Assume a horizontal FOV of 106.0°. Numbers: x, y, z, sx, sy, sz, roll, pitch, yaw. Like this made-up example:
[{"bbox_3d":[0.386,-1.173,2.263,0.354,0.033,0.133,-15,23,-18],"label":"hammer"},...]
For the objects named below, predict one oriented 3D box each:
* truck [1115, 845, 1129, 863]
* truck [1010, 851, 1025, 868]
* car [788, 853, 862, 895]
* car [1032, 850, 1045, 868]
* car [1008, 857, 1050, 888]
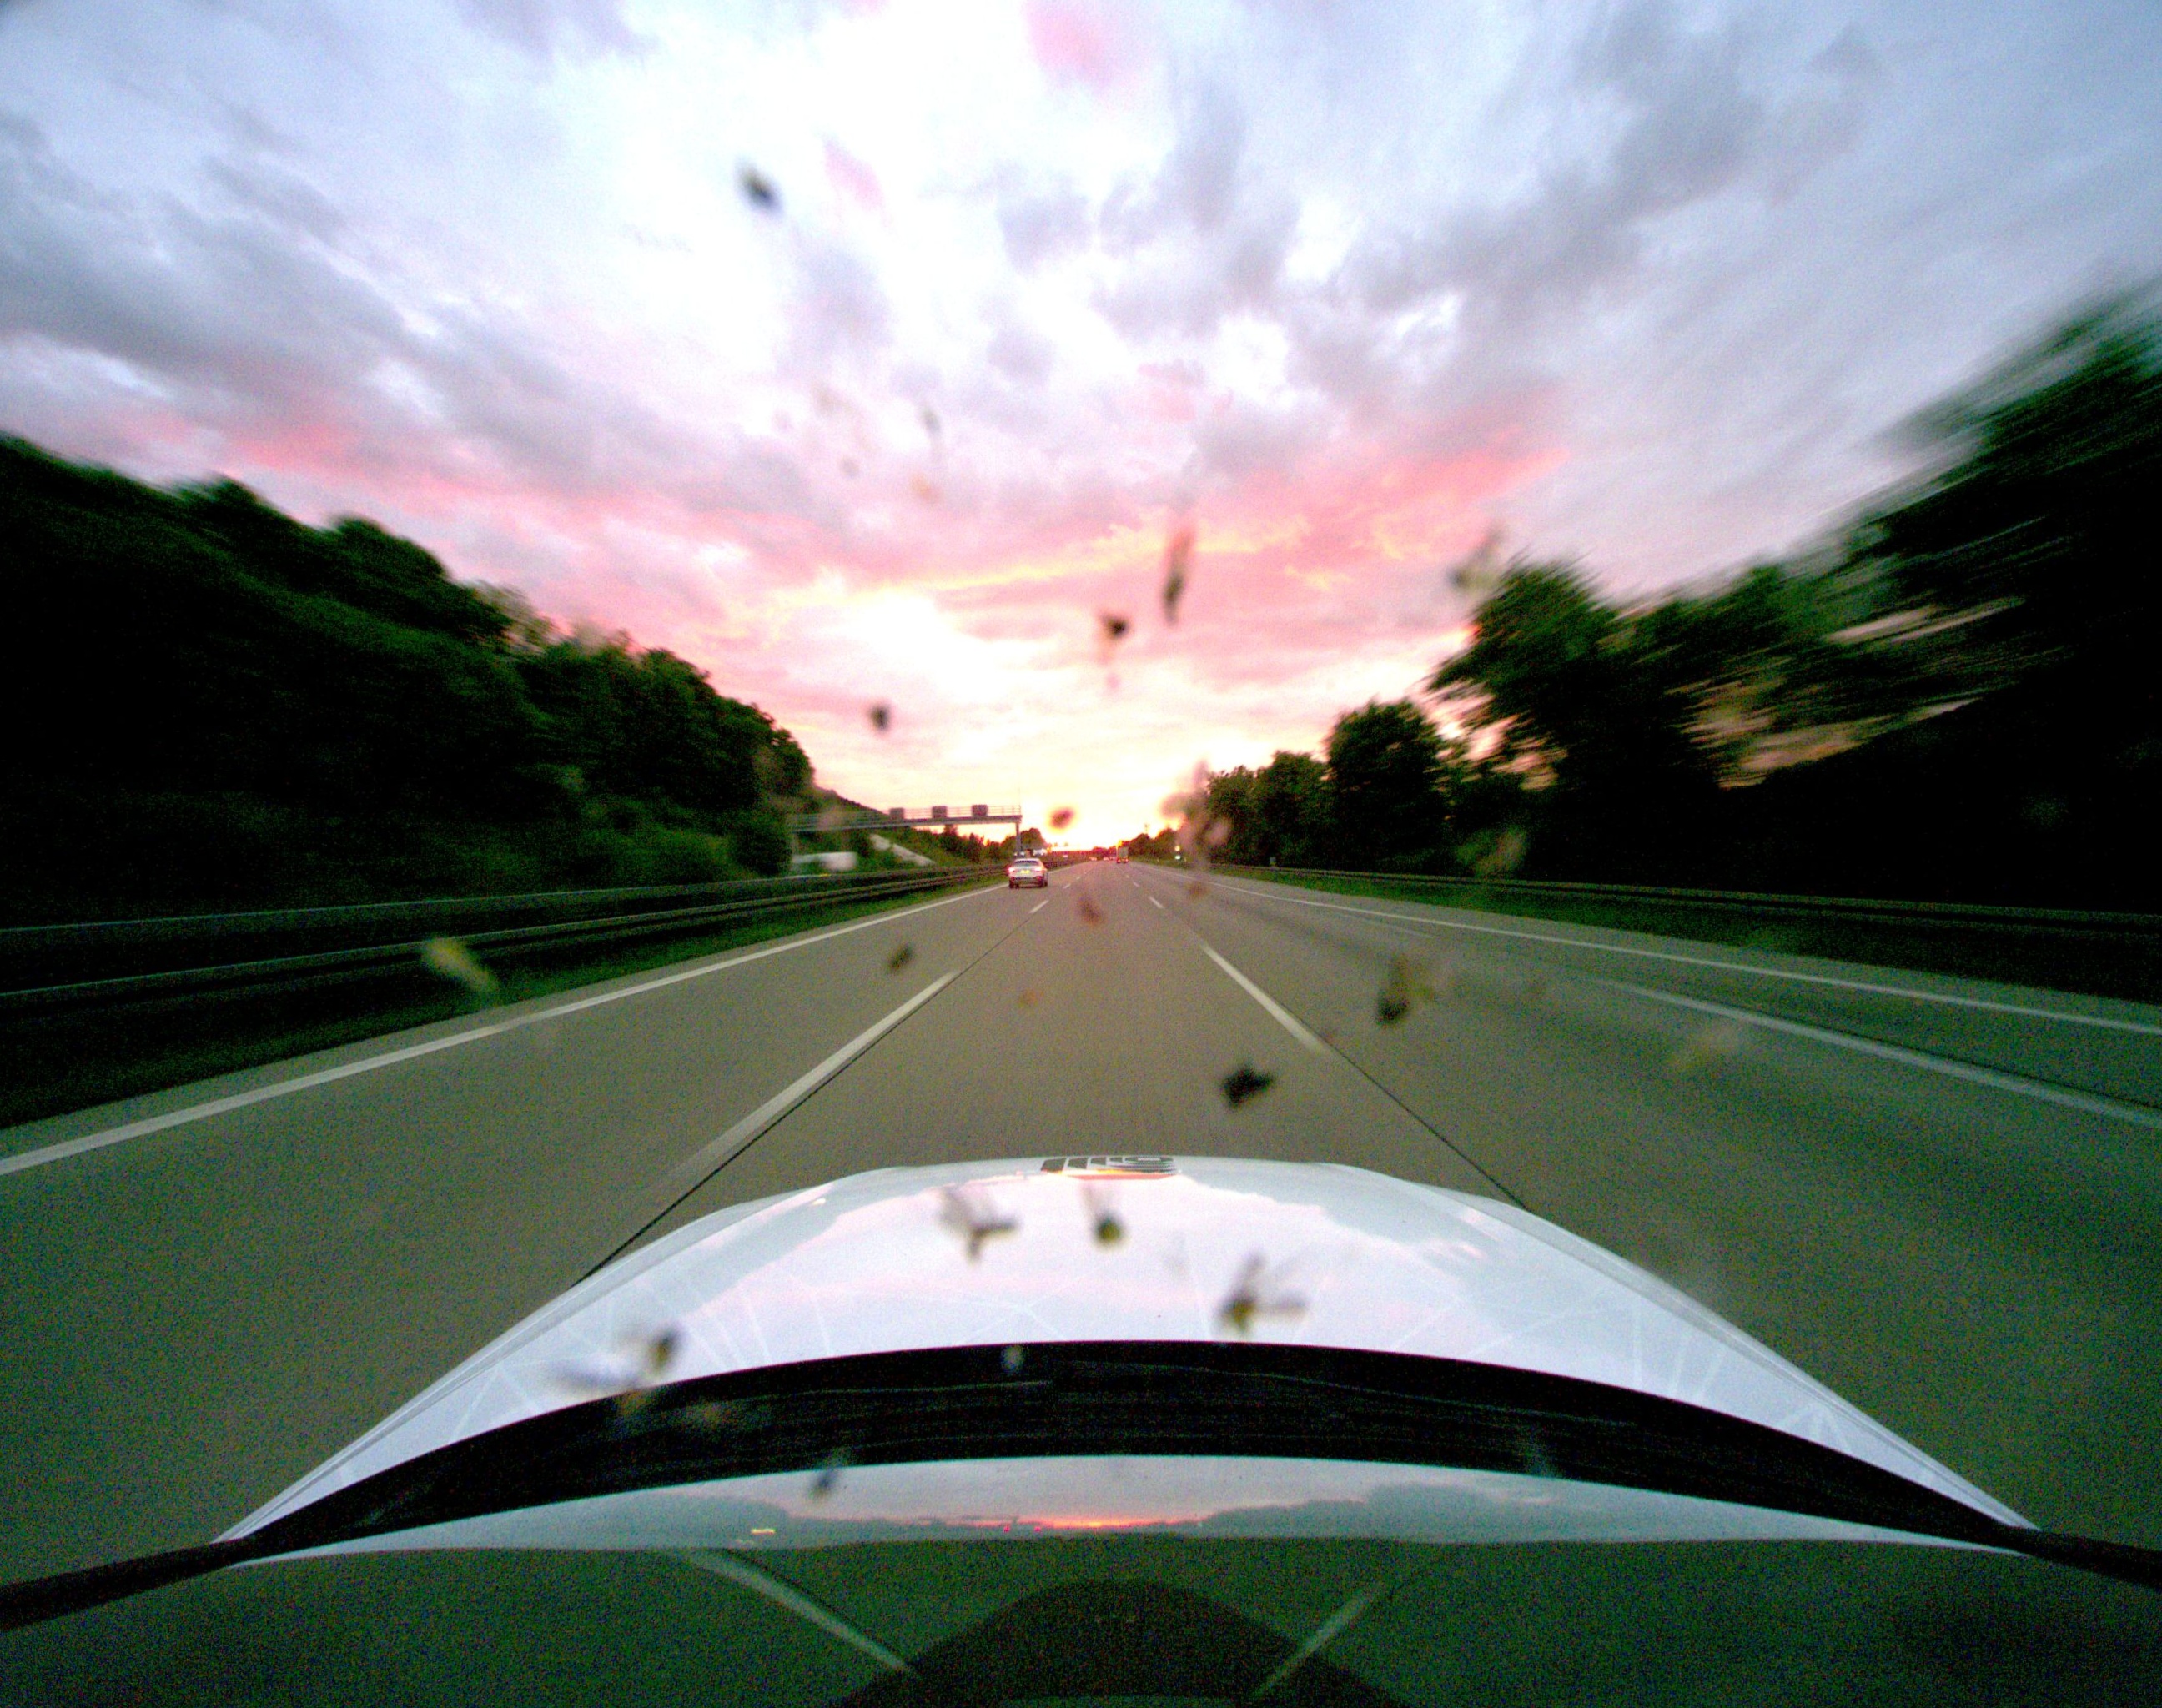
[{"bbox_3d":[9.909,-0.014,195.584,3.231,4.127,9.793,-2,-1,3],"label":"truck"},{"bbox_3d":[-15.940,1.454,205.400,2.846,4.210,5.867,-2,-1,2],"label":"truck"},{"bbox_3d":[-15.402,1.153,49.480,2.129,2.359,6.721,-2,0,1],"label":"car"},{"bbox_3d":[-10.808,1.243,207.999,2.788,4.487,5.931,-2,-1,1],"label":"car"},{"bbox_3d":[-2.717,0.954,43.332,1.783,1.501,5.039,-1,0,1],"label":"car"}]
